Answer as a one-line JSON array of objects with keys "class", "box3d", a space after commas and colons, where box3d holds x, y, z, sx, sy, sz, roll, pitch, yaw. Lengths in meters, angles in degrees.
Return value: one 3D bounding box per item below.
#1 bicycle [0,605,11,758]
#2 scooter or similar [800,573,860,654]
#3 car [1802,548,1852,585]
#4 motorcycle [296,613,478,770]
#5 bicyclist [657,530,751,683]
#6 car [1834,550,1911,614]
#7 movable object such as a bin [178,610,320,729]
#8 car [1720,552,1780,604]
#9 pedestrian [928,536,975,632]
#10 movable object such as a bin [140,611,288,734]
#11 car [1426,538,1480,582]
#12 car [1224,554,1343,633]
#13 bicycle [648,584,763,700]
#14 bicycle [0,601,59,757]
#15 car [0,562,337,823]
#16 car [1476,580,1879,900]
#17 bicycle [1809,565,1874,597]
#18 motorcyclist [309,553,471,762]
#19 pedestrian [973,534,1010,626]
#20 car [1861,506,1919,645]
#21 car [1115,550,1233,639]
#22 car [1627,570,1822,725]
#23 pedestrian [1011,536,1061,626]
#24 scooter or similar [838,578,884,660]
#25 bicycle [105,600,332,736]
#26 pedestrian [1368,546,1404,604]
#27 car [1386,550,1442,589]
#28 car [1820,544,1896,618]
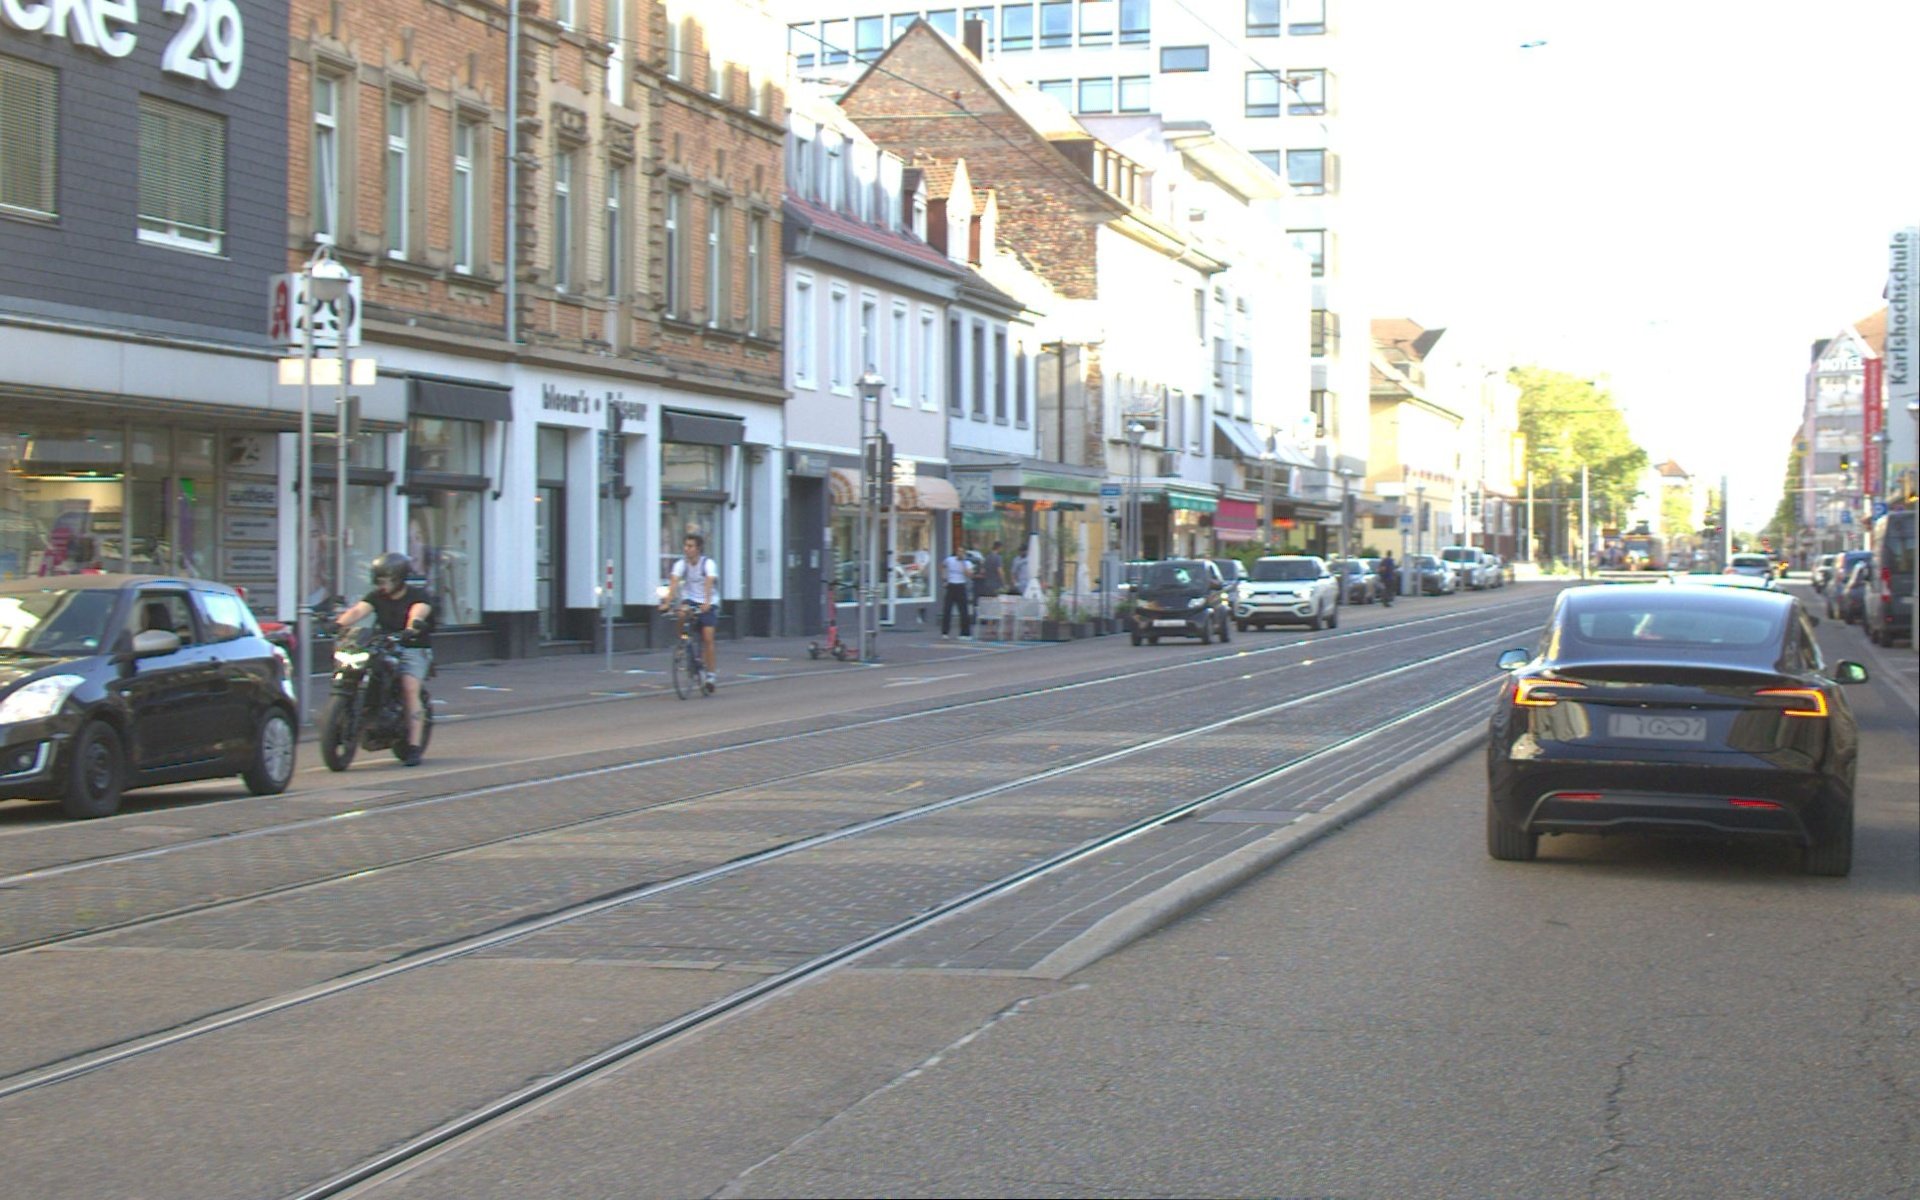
[{"class": "bicycle", "box3d": [-8.332, 0.597, 26.223, 1.935, 1.168, 0.774, 2, 1, 9]}, {"class": "scooter or similar", "box3d": [-1.989, 0.200, 52.710, 0.579, 1.197, 1.476, 2, 1, 10]}, {"class": "car", "box3d": [37.537, -1.428, 148.918, 1.995, 1.537, 3.998, 1, 0, 13]}, {"class": "motorcycle", "box3d": [-4.340, 0.676, 26.202, 0.570, 1.116, 2.116, 0, 0, 14]}, {"class": "bicyclist", "box3d": [-2.941, 0.068, 39.564, 0.751, 1.723, 1.145, 1, 1, 14]}, {"class": "car", "box3d": [22.197, -0.448, 83.709, 1.752, 1.494, 3.751, 0, 1, 14]}, {"class": "movable object such as a bin", "box3d": [-6.701, 0.651, 32.430, 1.100, 1.060, 0.698, 2, 1, 14]}, {"class": "car", "box3d": [29.694, -0.846, 129.173, 2.086, 1.864, 3.751, 1, 1, 14]}, {"class": "pedestrian", "box3d": [-0.156, -0.306, 64.056, 0.614, 1.769, 0.717, 1, 1, 27]}, {"class": "movable object such as a bin", "box3d": [-6.880, 0.659, 31.727, 1.100, 1.068, 0.734, 2, 1, 14]}, {"class": "car", "box3d": [22.458, -1.836, 156.443, 2.010, 1.954, 4.722, 0, 1, 13]}, {"class": "car", "box3d": [6.924, -0.162, 73.269, 1.891, 1.588, 4.260, -1, 1, 14]}, {"class": "bicycle", "box3d": [-2.920, 0.464, 39.669, 0.751, 1.289, 2.024, 0, 1, 13]}, {"class": "bicycle", "box3d": [-8.160, 0.607, 27.014, 1.935, 1.188, 0.774, 0, 1, 9]}, {"class": "car", "box3d": [-5.585, 0.522, 21.595, 1.714, 1.441, 4.136, -2, 1, 14]}, {"class": "car", "box3d": [3.952, 0.651, 18.646, 1.871, 1.422, 4.362, 1, 1, 14]}, {"class": "bicycle", "box3d": [30.996, -0.677, 120.872, 2.160, 1.093, 0.686, 0, 1, 11]}, {"class": "motorcyclist", "box3d": [-4.337, 0.423, 26.224, 0.803, 1.553, 1.145, -1, 0, 14]}, {"class": "pedestrian", "box3d": [0.627, -0.402, 68.585, 0.656, 1.817, 0.642, 1, 1, 8]}, {"class": "car", "box3d": [17.953, -0.495, 63.719, 2.172, 2.453, 5.359, -1, 1, 13]}, {"class": "car", "box3d": [3.885, -0.122, 62.067, 1.649, 1.560, 2.828, 1, 1, 14]}, {"class": "car", "box3d": [7.591, 0.431, 34.095, 1.763, 1.414, 4.352, 1, 0, 13]}, {"class": "pedestrian", "box3d": [1.529, -0.385, 68.932, 0.886, 1.769, 0.688, 1, 1, 12]}, {"class": "scooter or similar", "box3d": [-1.516, 0.286, 52.600, 0.364, 1.197, 1.476, 2, 1, 10]}, {"class": "bicycle", "box3d": [-6.697, 0.605, 31.073, 1.935, 1.186, 0.551, 0, 1, 10]}, {"class": "pedestrian", "box3d": [13.430, -0.796, 108.414, 0.773, 1.842, 0.826, 1, 1, 44]}, {"class": "car", "box3d": [18.194, -1.232, 137.604, 1.719, 1.566, 3.846, 0, 1, 15]}, {"class": "car", "box3d": [23.407, -0.516, 89.728, 1.822, 1.864, 3.751, 1, 1, 14]}]
